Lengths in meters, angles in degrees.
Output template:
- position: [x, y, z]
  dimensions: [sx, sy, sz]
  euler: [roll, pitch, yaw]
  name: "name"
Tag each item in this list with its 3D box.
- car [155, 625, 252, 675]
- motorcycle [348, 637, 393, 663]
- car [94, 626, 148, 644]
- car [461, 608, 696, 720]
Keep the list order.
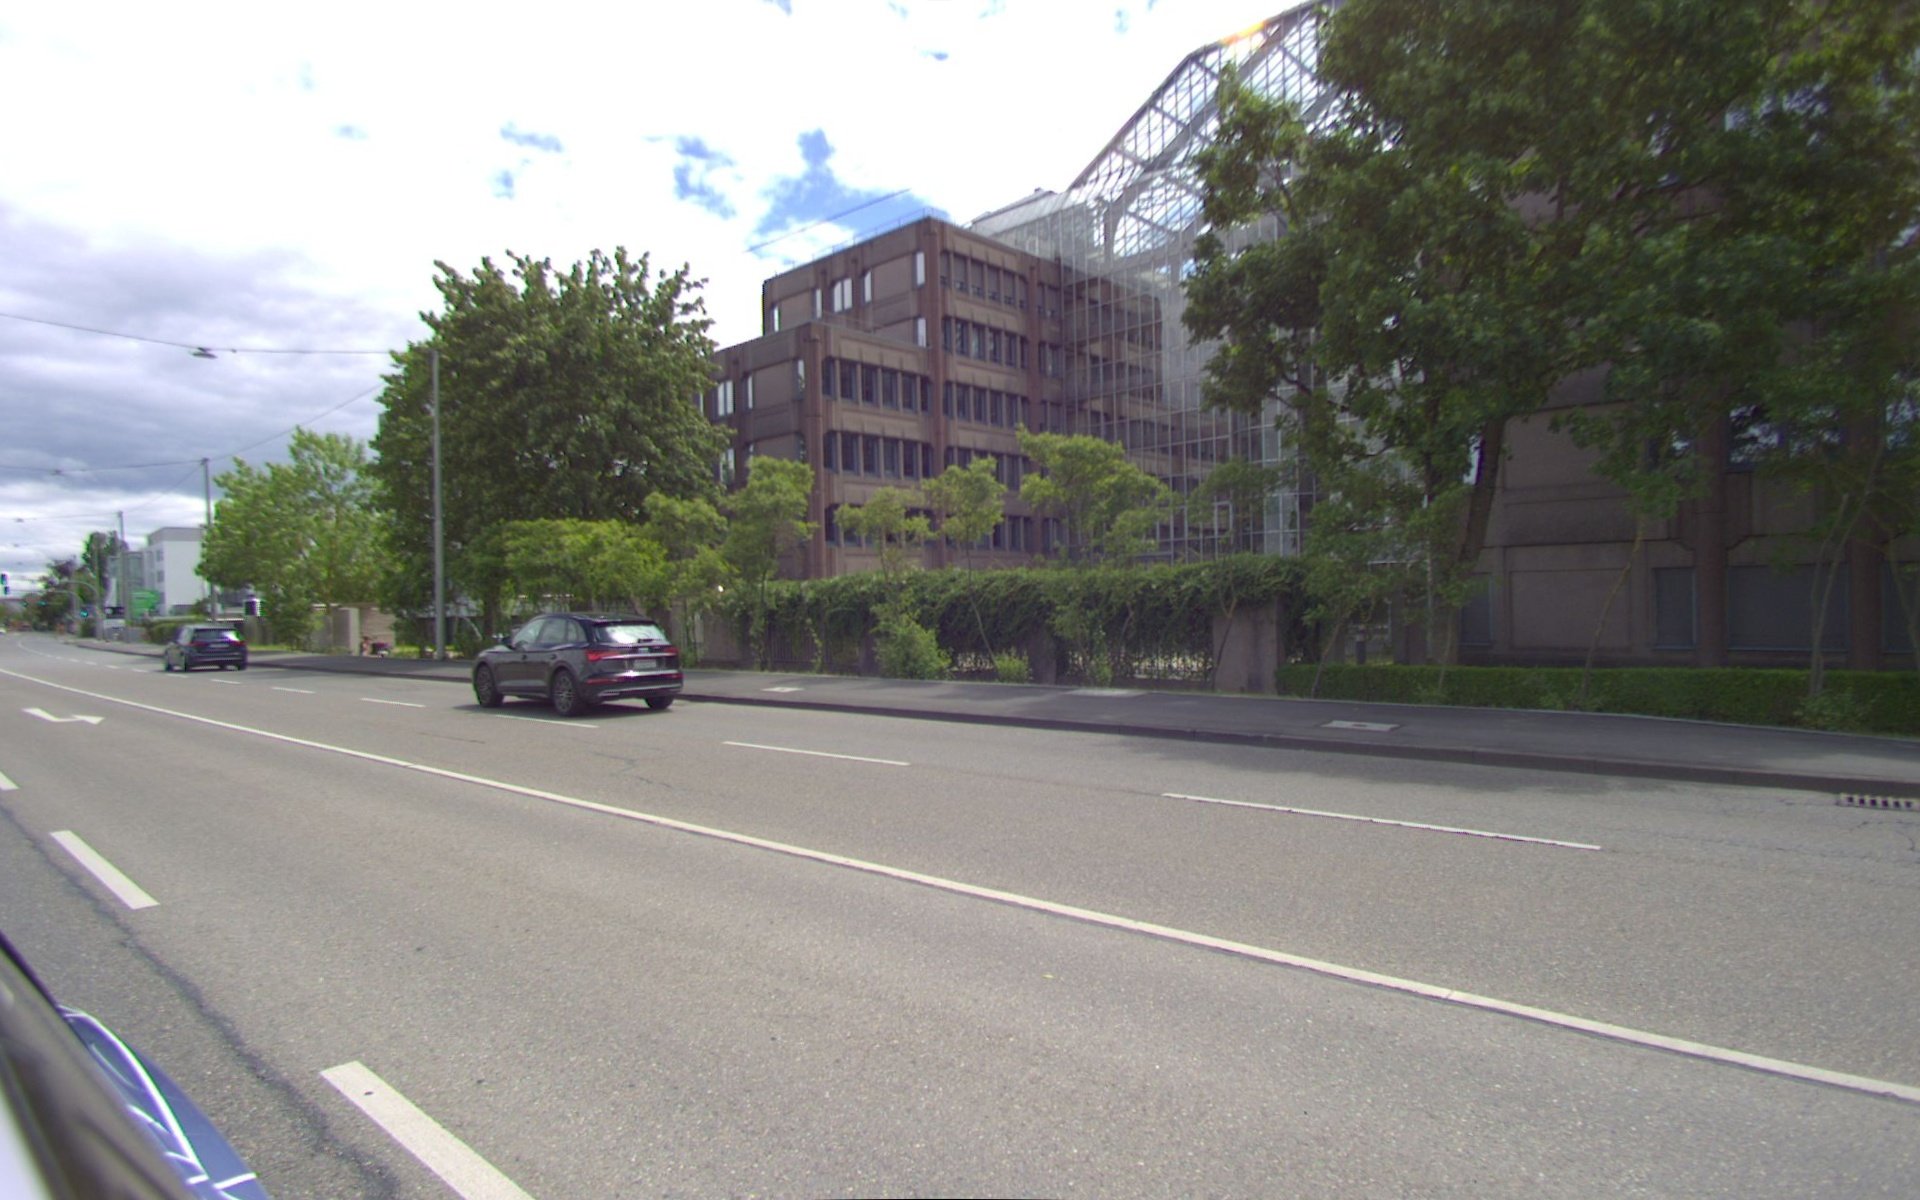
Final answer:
- position: [-25.799, 1.668, 34.476]
  dimensions: [4.311, 1.597, 1.778]
  euler: [-2, -2, 41]
  name: "car"
- position: [-30.965, 2.633, 53.156]
  dimensions: [0.745, 1.254, 1.881]
  euler: [-1, 0, 41]
  name: "motorcycle"
- position: [-80.059, 3.314, 96.639]
  dimensions: [1.835, 1.623, 3.752]
  euler: [-2, -1, 41]
  name: "car"
- position: [-6.576, 0.981, 17.175]
  dimensions: [4.571, 1.627, 1.848]
  euler: [-1, 0, 42]
  name: "car"
